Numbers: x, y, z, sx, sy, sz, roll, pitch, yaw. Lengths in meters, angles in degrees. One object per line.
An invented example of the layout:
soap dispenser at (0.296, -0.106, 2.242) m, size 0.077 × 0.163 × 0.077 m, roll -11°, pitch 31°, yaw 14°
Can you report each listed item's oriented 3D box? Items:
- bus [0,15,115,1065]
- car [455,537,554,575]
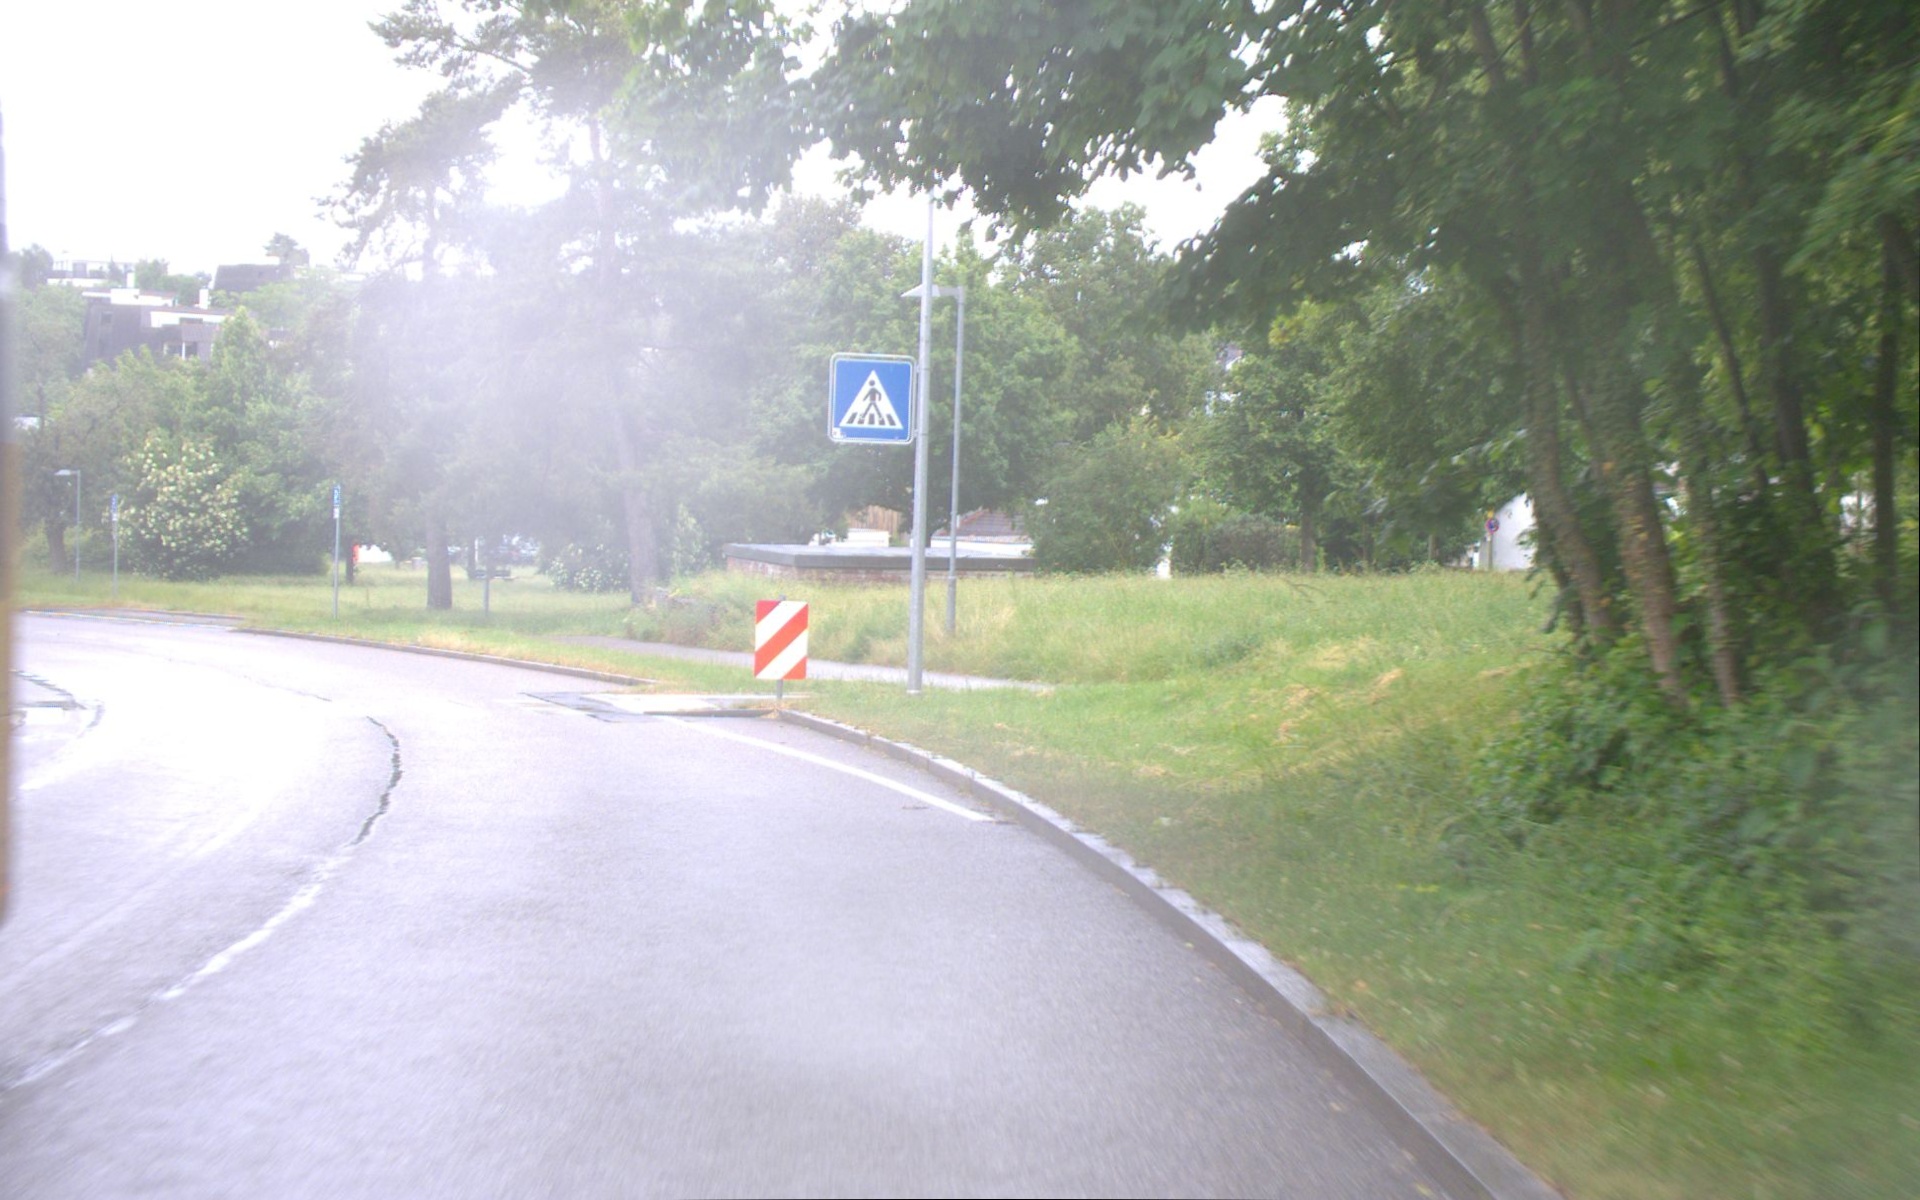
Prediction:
bus at (-3.952, -0.147, 7.670) m, size 2.639 × 3.022 × 7.667 m, roll 1°, pitch 1°, yaw -3°
car at (-22.840, -2.203, 172.232) m, size 4.549 × 1.744 × 1.910 m, roll -2°, pitch 1°, yaw 24°
